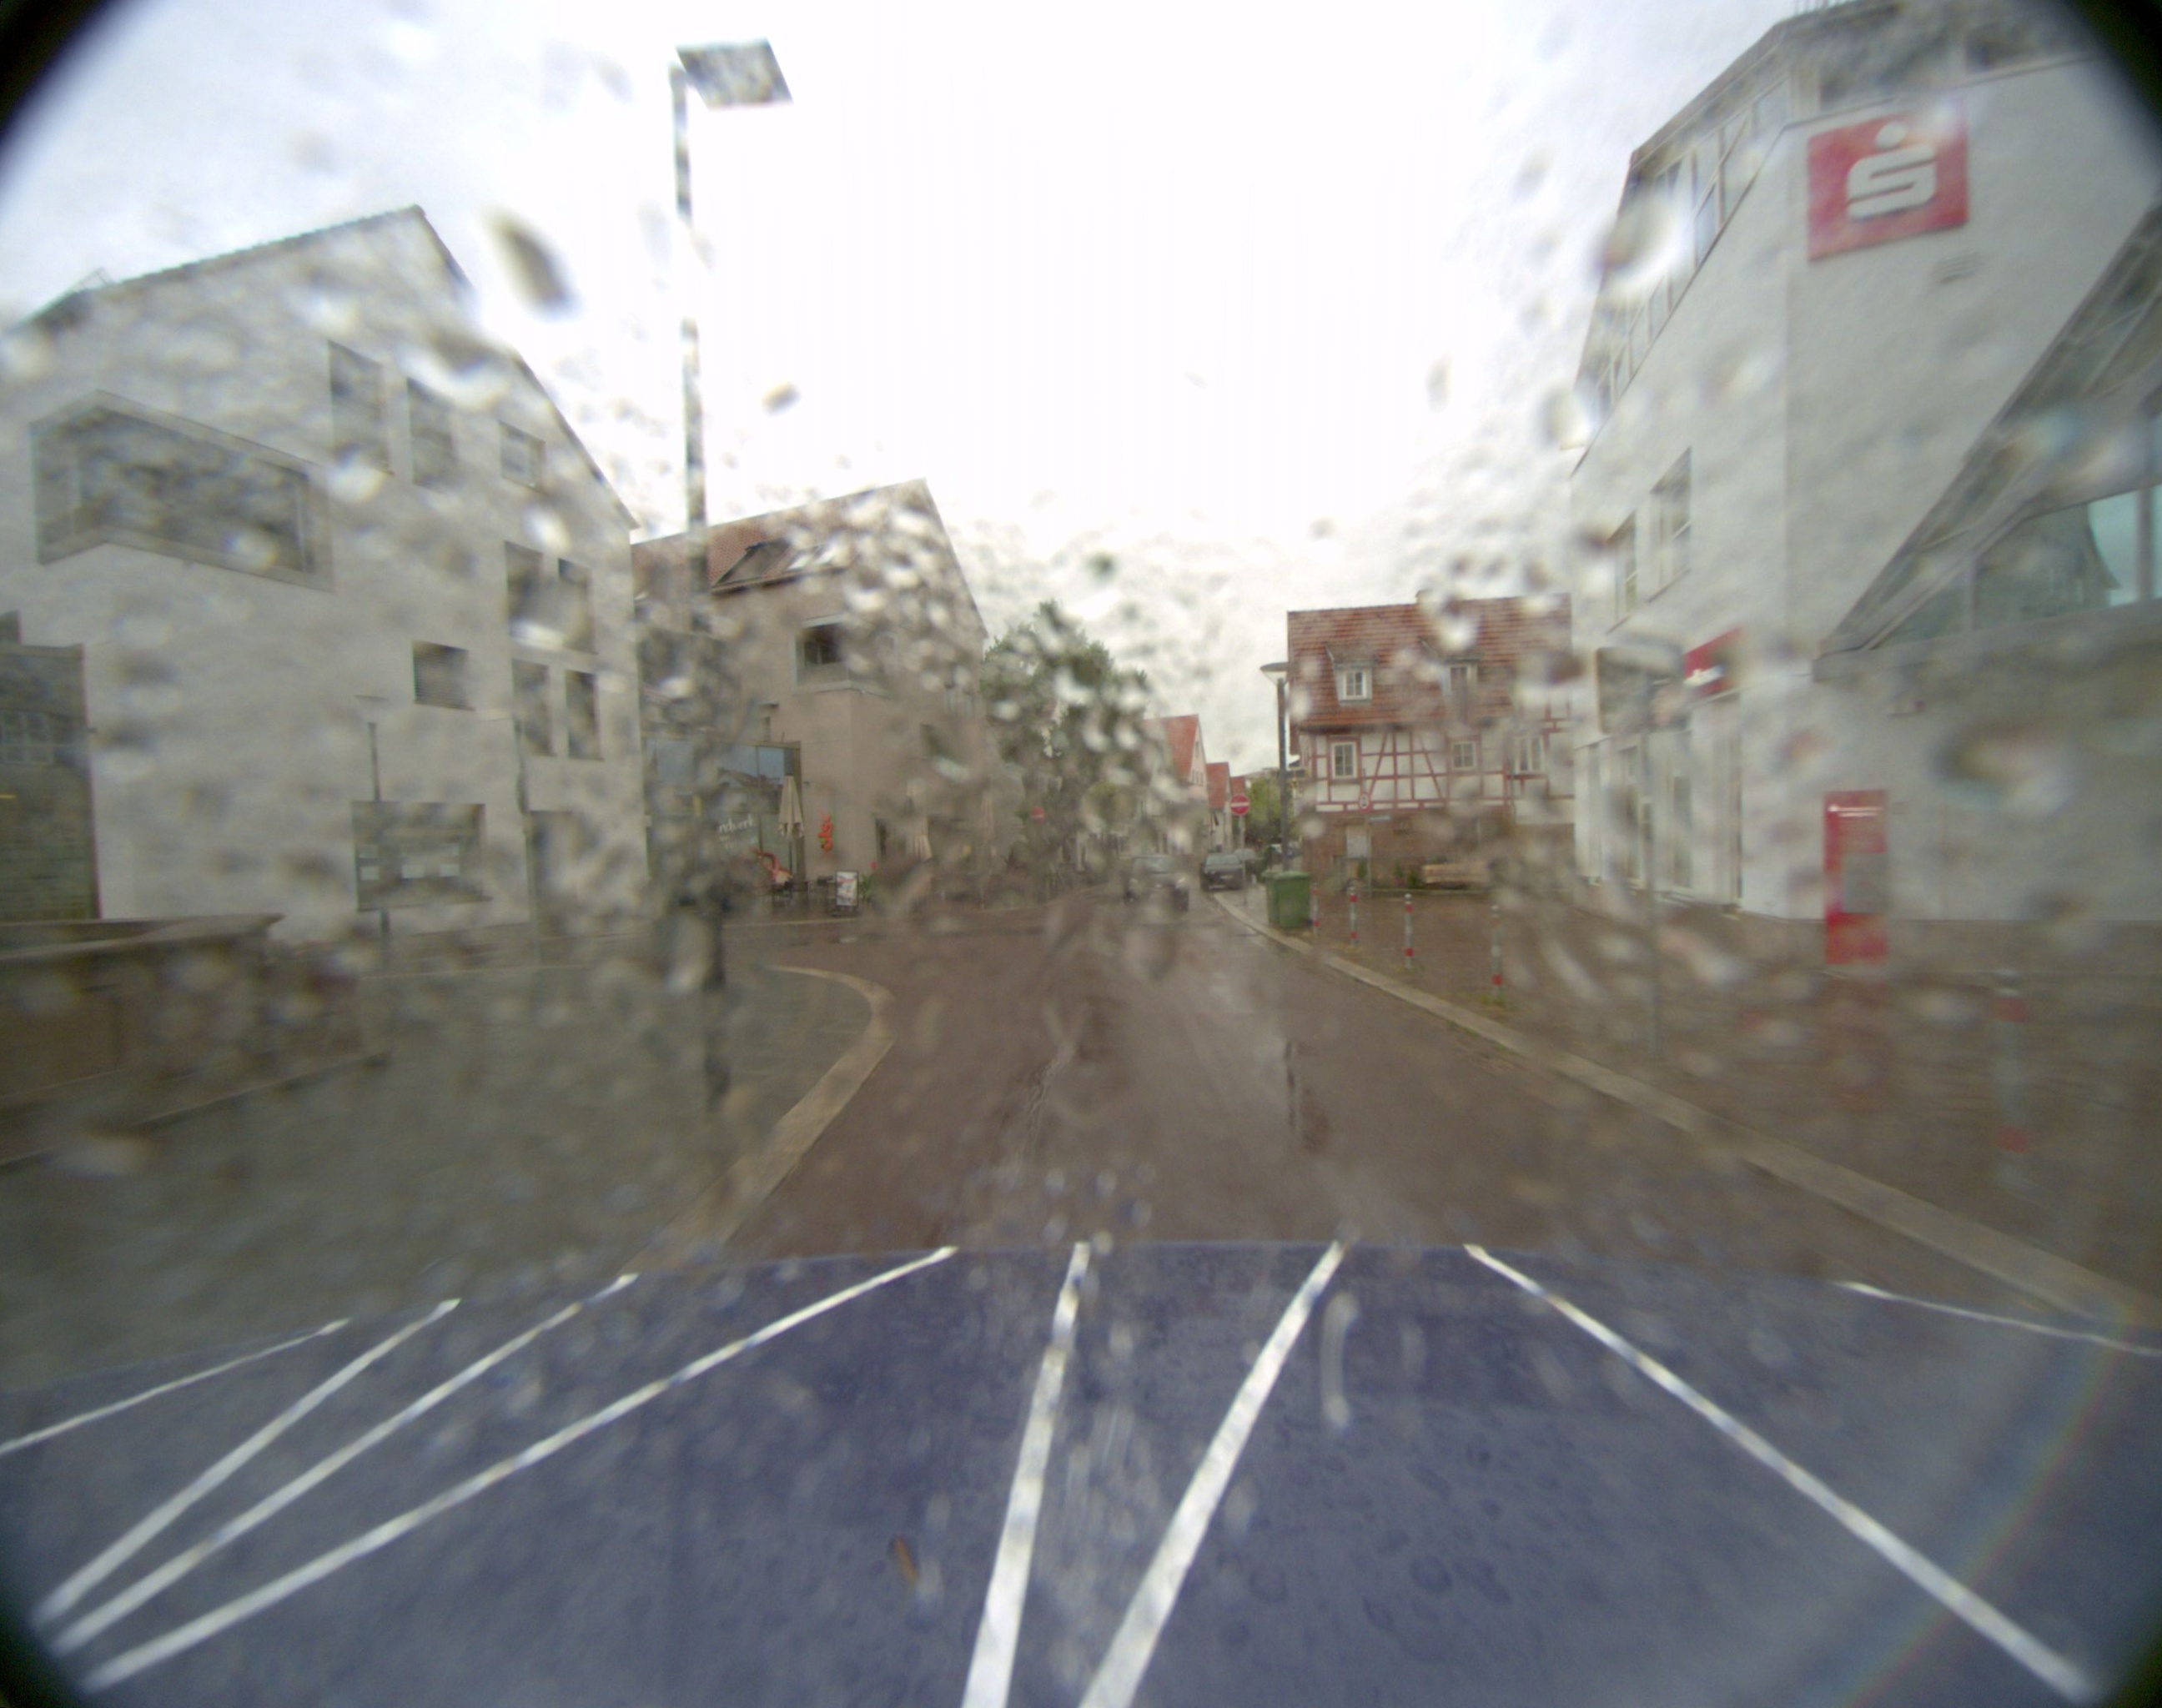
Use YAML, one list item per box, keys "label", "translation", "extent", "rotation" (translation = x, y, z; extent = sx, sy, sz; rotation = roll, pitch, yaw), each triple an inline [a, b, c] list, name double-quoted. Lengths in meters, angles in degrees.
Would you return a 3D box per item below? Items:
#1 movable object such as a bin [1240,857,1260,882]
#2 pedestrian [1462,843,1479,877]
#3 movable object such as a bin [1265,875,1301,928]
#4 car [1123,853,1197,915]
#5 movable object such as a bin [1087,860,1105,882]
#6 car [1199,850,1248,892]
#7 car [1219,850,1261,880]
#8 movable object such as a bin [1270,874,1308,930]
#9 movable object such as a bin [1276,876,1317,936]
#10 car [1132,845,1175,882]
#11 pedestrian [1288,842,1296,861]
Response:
- label: "movable object such as a bin"
  translation: [7.843, 0.703, 35.198]
  extent: [0.834, 1.105, 0.919]
  rotation: [-1, 1, 9]
- label: "pedestrian"
  translation: [13.413, 0.190, 26.162]
  extent: [0.411, 1.148, 0.425]
  rotation: [-1, 1, 10]
- label: "movable object such as a bin"
  translation: [4.301, 1.013, 16.179]
  extent: [0.659, 1.076, 0.553]
  rotation: [-1, 1, 7]
- label: "car"
  translation: [2.310, 0.775, 21.424]
  extent: [1.735, 1.546, 3.848]
  rotation: [-1, 0, 11]
- label: "movable object such as a bin"
  translation: [0.744, 0.819, 37.454]
  extent: [0.764, 1.068, 0.538]
  rotation: [-1, 1, 12]
- label: "car"
  translation: [5.875, 0.659, 31.671]
  extent: [1.693, 1.477, 4.001]
  rotation: [-3, 1, 7]
- label: "car"
  translation: [9.393, 0.604, 44.708]
  extent: [1.996, 1.520, 4.004]
  rotation: [-4, 0, 16]
- label: "movable object such as a bin"
  translation: [4.251, 0.978, 15.545]
  extent: [0.659, 1.108, 0.553]
  rotation: [-1, 1, 7]
- label: "movable object such as a bin"
  translation: [4.157, 0.994, 14.701]
  extent: [0.660, 1.090, 0.613]
  rotation: [-1, 1, 5]
- label: "car"
  translation: [3.737, 0.430, 38.581]
  extent: [1.997, 1.740, 4.002]
  rotation: [-1, 1, 8]
- label: "pedestrian"
  translation: [14.166, -0.170, 50.949]
  extent: [0.454, 1.300, 0.518]
  rotation: [-1, 2, 17]
